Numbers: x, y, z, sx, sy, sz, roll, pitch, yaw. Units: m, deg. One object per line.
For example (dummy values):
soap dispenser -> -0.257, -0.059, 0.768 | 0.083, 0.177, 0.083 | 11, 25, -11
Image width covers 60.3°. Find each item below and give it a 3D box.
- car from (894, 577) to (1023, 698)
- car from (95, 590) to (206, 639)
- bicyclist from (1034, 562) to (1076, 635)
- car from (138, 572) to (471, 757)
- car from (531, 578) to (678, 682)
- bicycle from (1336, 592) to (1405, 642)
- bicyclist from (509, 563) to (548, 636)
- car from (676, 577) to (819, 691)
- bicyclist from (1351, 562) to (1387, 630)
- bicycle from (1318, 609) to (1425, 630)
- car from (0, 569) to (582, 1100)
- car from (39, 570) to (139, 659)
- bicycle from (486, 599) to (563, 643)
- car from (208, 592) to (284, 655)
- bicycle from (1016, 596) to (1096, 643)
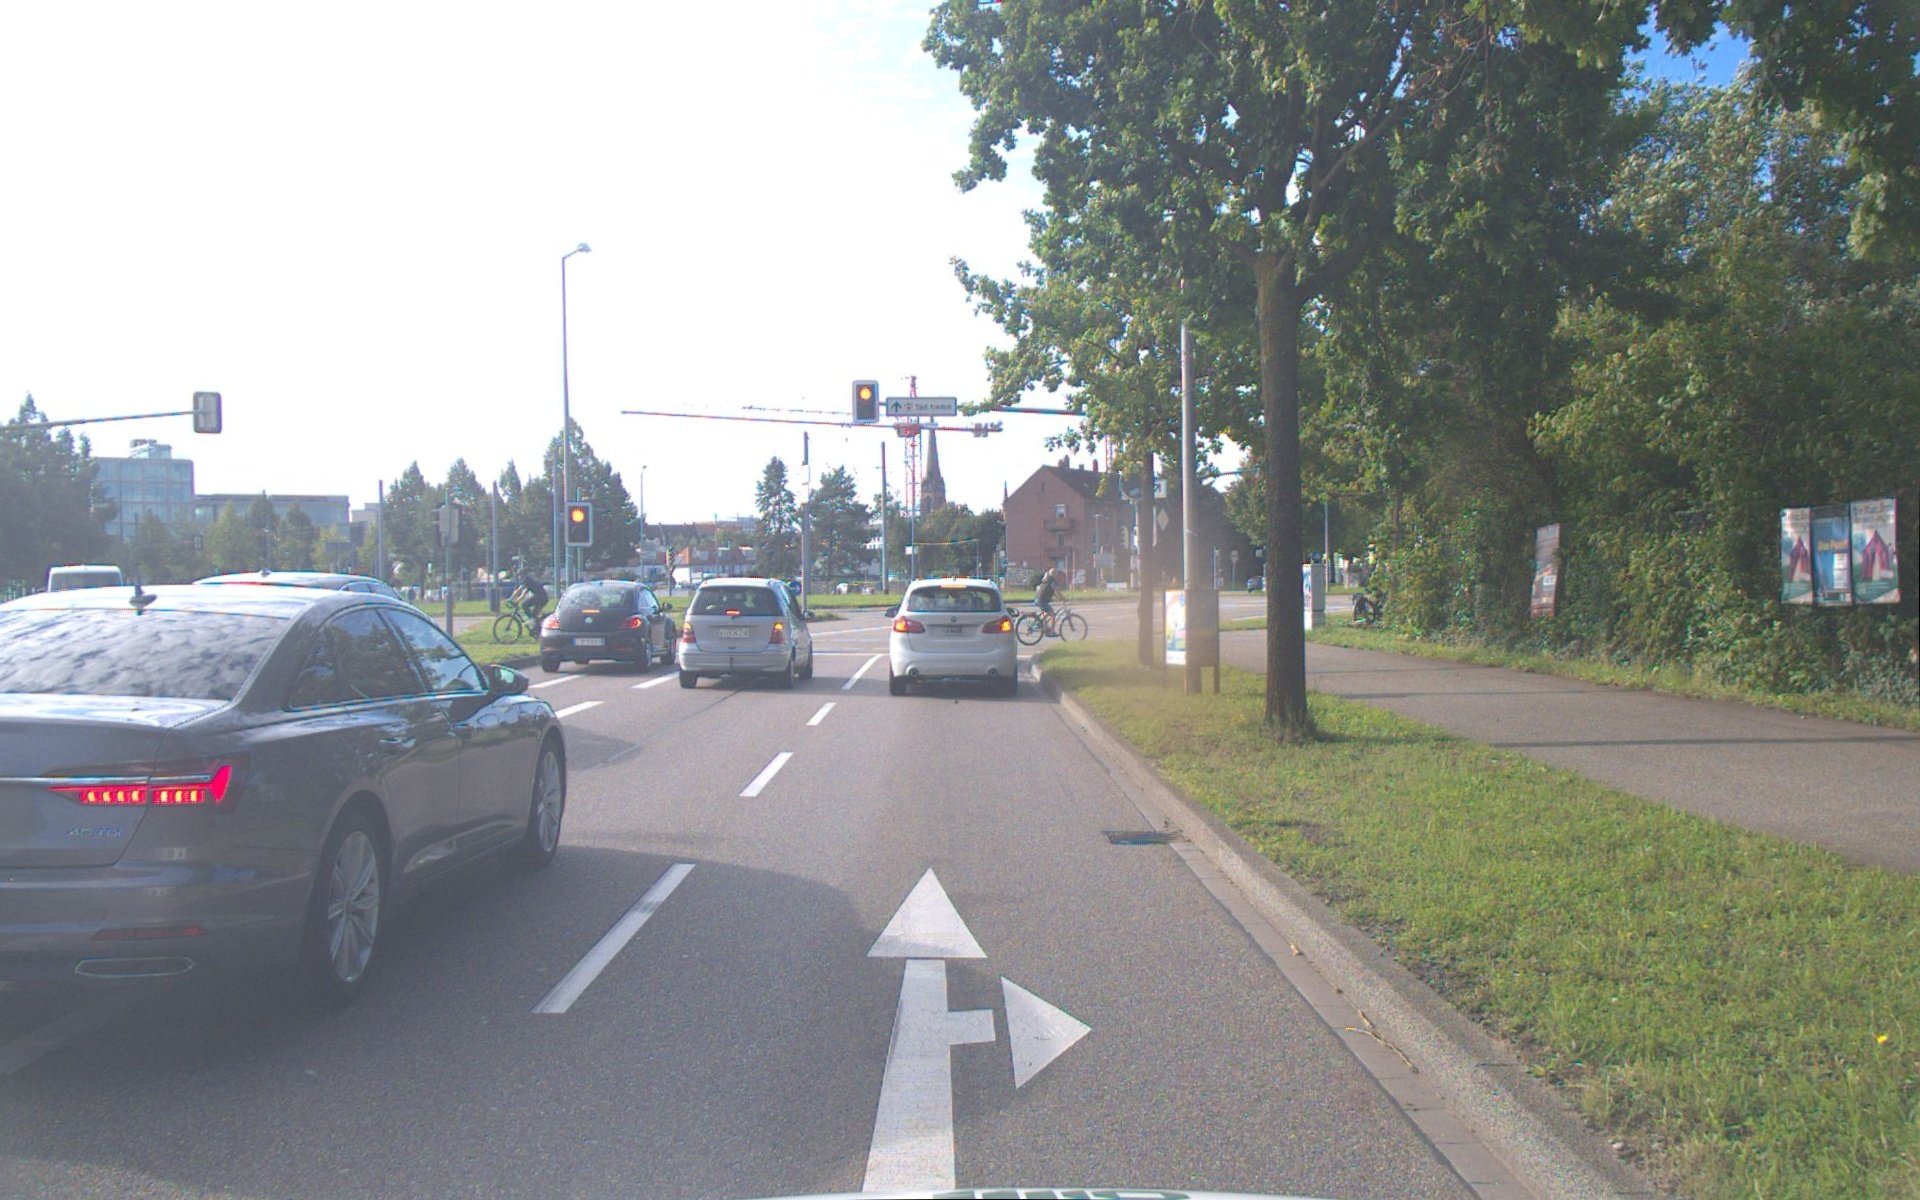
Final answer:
car -> -0.061, 0.470, 23.833 | 1.694, 1.585, 4.057 | 0, 1, -1
car -> -28.663, 0.515, 58.635 | 3.127, 1.601, 1.572 | -2, 0, -7
bicyclist -> 2.214, -0.046, 38.502 | 0.815, 1.676, 0.683 | 0, 0, -13
car -> -6.216, 0.538, 16.194 | 1.694, 1.585, 4.018 | 0, 0, -1
car -> -5.968, 0.452, 28.141 | 1.686, 1.592, 3.877 | 1, 1, -1
bicycle -> 10.276, 0.418, 41.429 | 1.586, 1.239, 0.490 | 0, 0, -2
bicyclist -> -10.164, -0.007, 38.970 | 0.772, 1.697, 0.549 | -1, 0, -5
car -> -3.155, 0.455, 25.235 | 1.694, 1.585, 4.058 | 0, 1, -1
bicyclist -> 10.244, -0.101, 41.426 | 0.752, 1.676, 0.535 | -1, 1, -1
bicycle -> 9.253, 0.441, 37.336 | 1.382, 0.392, 2.569 | -1, 1, -12
car -> -3.018, 0.656, 6.996 | 1.851, 1.509, 4.612 | 0, 0, -1
car -> -24.531, 0.393, 46.753 | 1.968, 2.274, 5.880 | -3, 1, -24
bicycle -> -10.246, 0.488, 38.979 | 1.642, 0.984, 0.643 | -1, 0, -6
car -> -20.130, 0.648, 46.750 | 1.680, 1.600, 3.975 | -3, 1, -21
bicycle -> 2.224, 0.454, 38.499 | 1.740, 1.068, 0.708 | 0, 0, -13
